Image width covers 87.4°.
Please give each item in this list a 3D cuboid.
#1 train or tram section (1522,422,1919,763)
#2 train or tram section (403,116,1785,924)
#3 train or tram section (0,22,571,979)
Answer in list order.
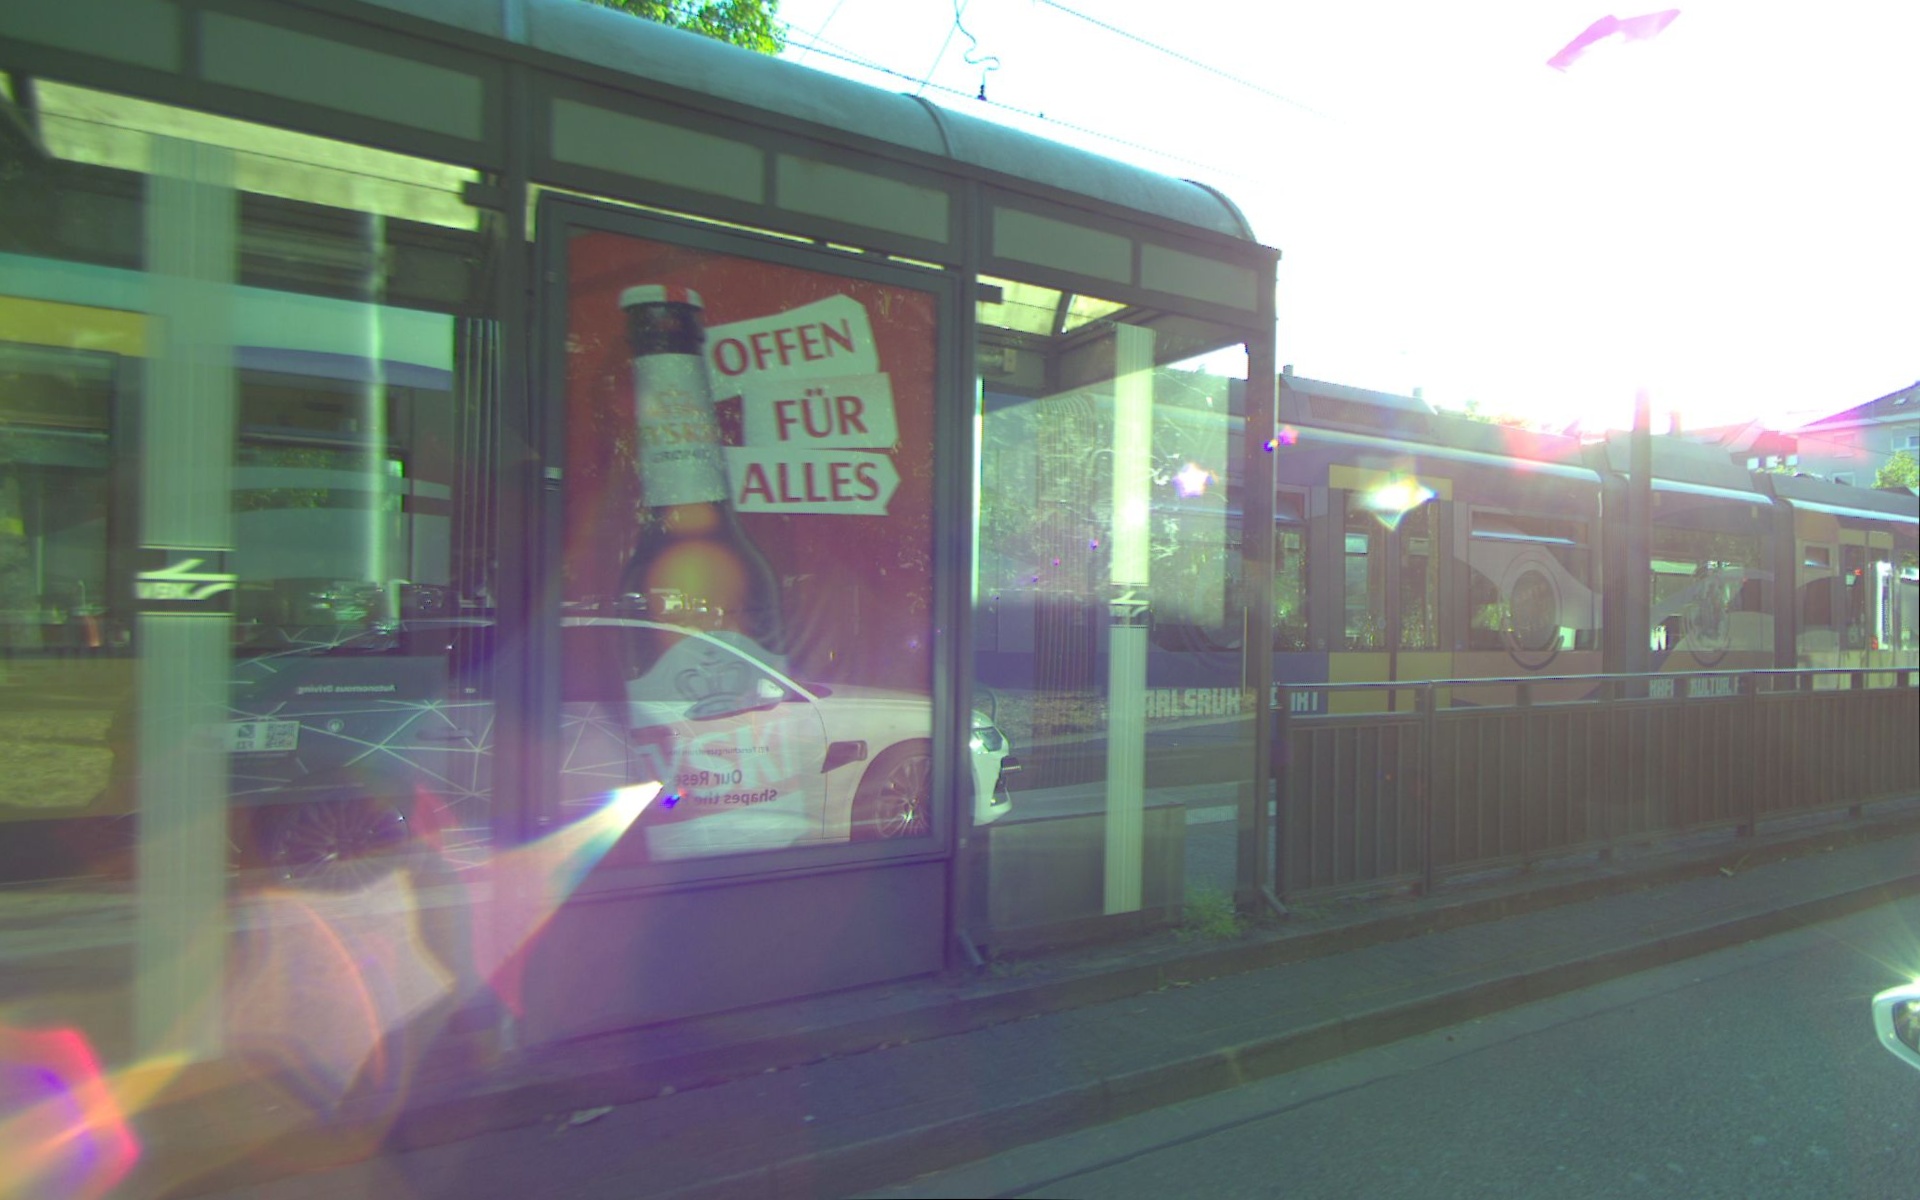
[{"bbox_3d":[13.593,0.072,14.856,13.168,3.566,2.630,1,-1,-29],"label":"train or tram section"},{"bbox_3d":[2.467,-0.214,8.702,12.626,3.596,2.717,1,-1,-29],"label":"train or tram section"},{"bbox_3d":[-8.314,-0.467,2.793,13.230,3.580,2.838,1,-1,-29],"label":"train or tram section"}]
